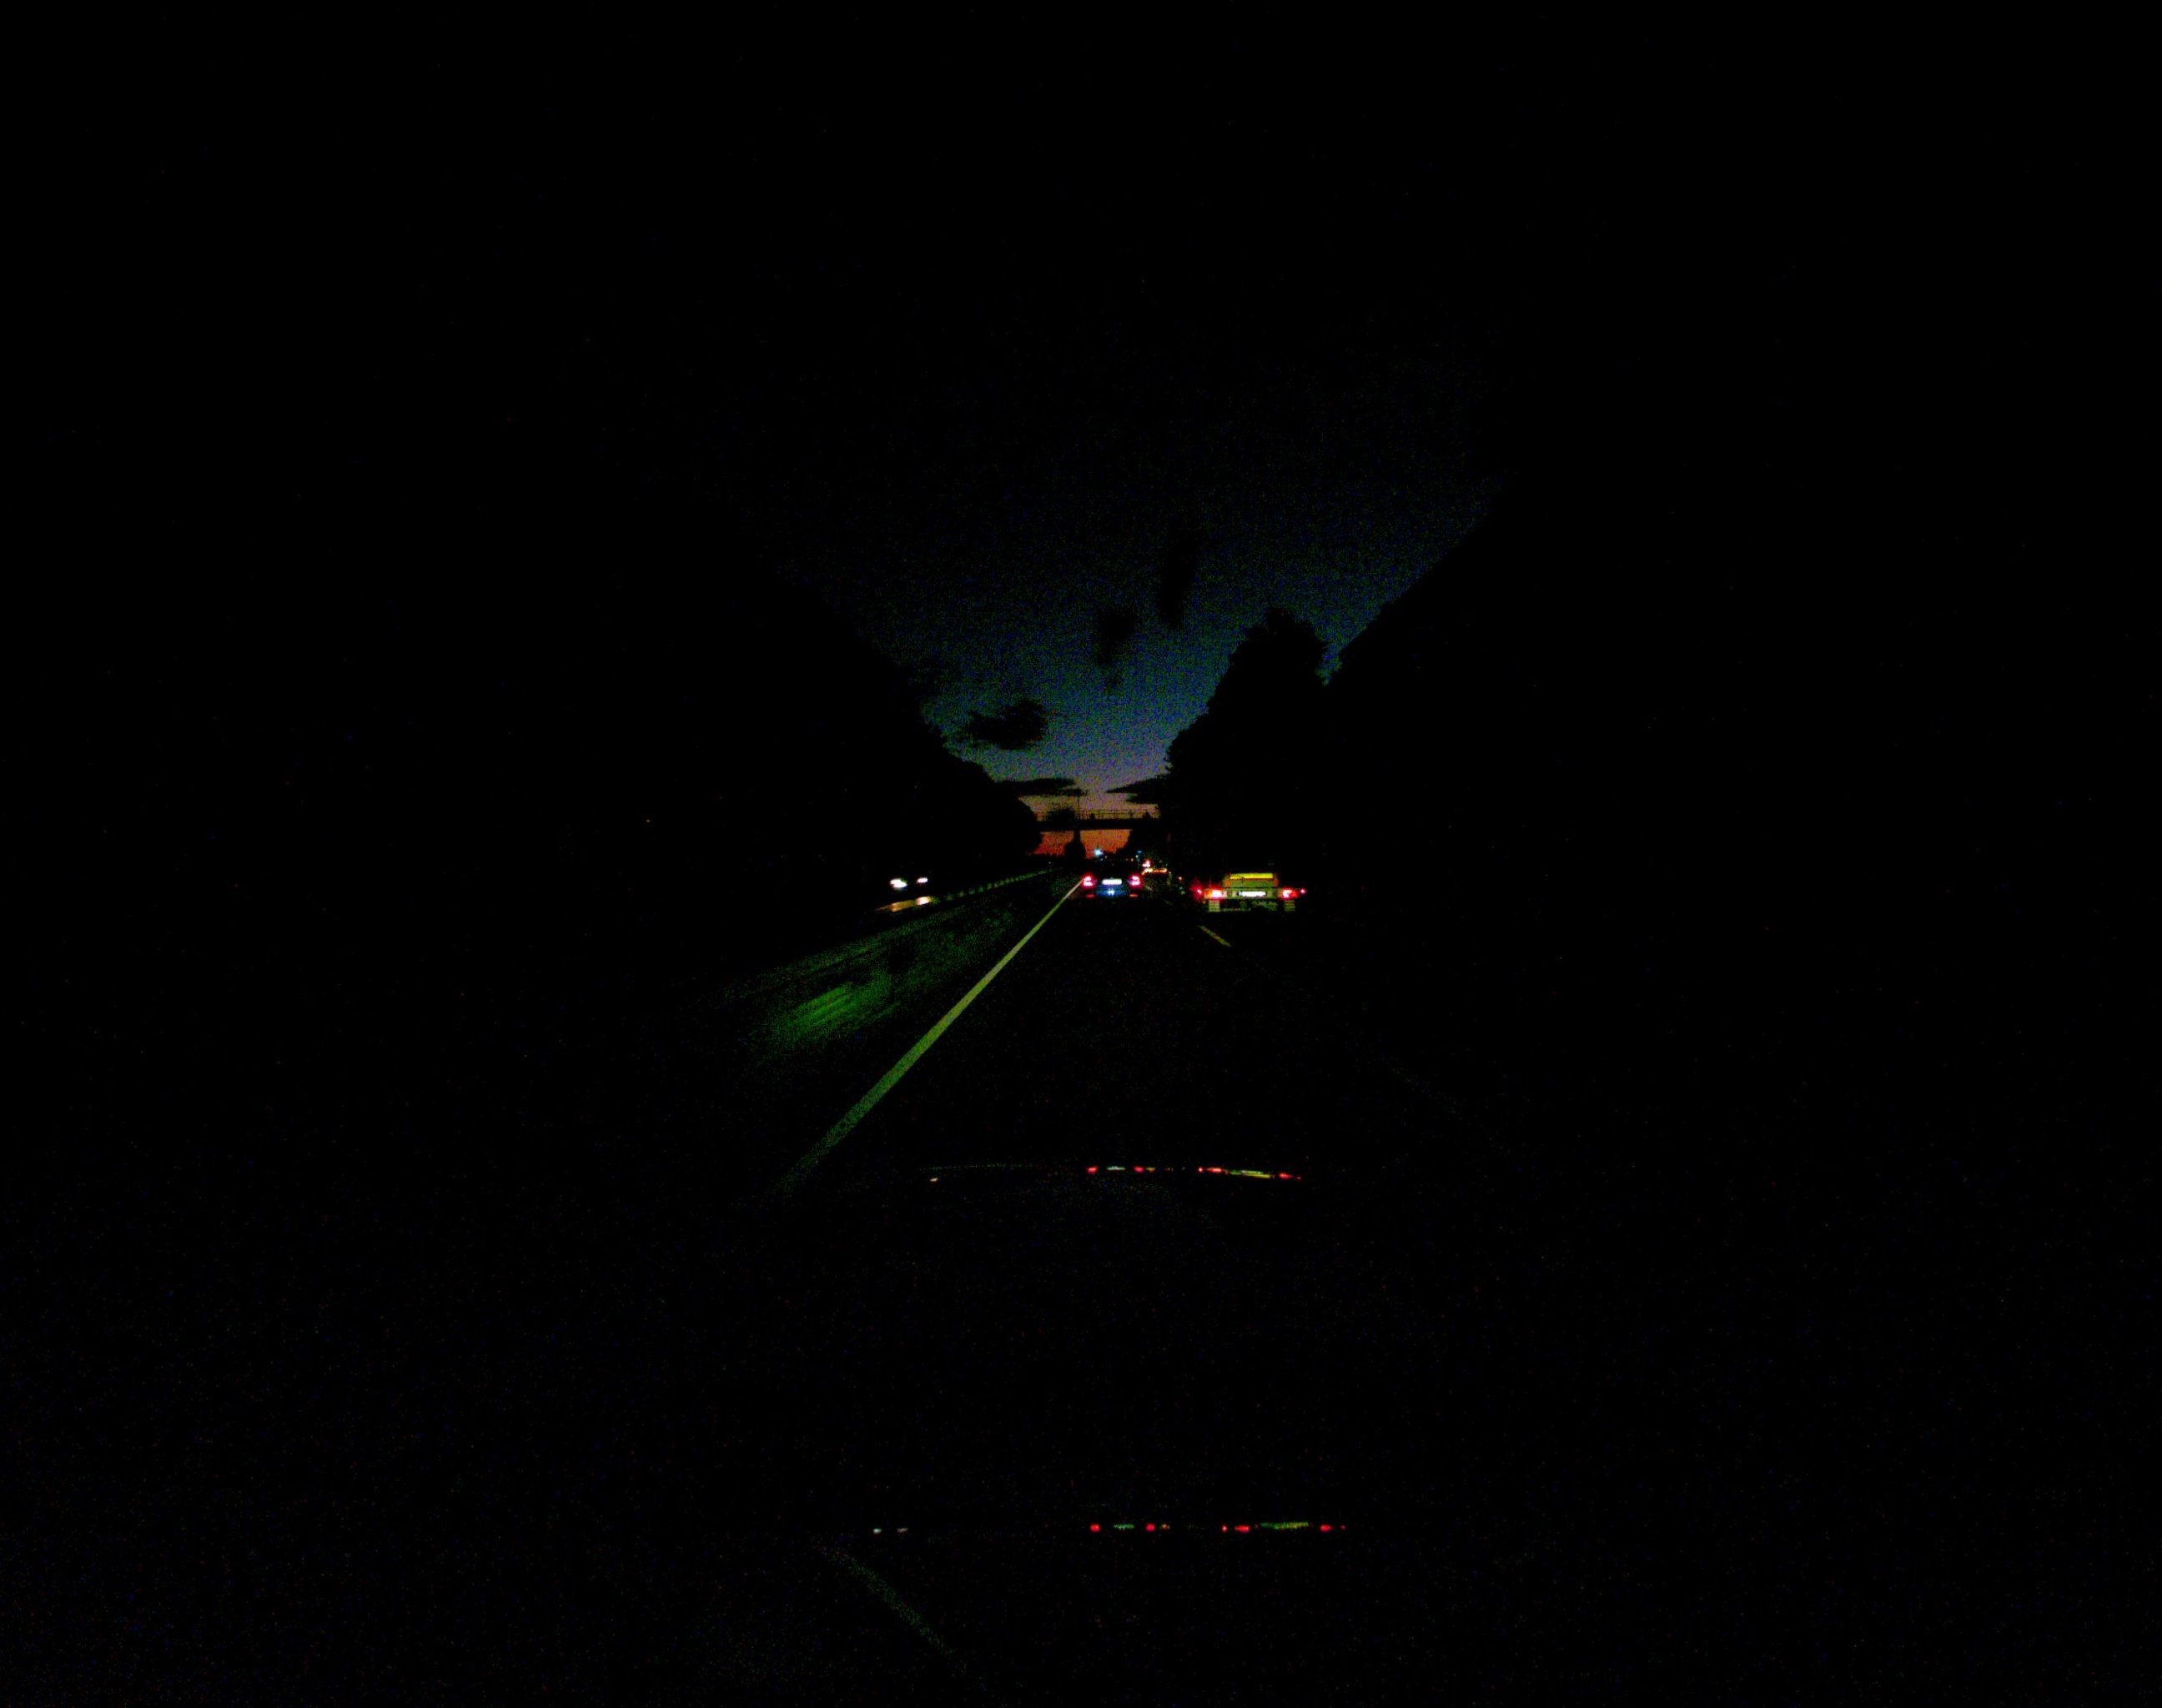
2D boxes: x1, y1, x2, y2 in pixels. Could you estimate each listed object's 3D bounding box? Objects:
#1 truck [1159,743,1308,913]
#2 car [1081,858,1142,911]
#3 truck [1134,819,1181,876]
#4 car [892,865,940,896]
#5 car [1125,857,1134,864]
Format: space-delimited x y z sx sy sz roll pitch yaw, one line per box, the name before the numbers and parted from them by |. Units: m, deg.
truck | 4.334 -0.568 26.377 2.677 4.106 13.145 0 -1 2
car | 0.896 0.858 24.485 1.689 1.452 3.915 0 -1 1
truck | 5.913 -0.427 65.122 2.872 4.106 12.687 0 -1 2
car | -8.464 1.335 42.080 1.611 1.507 3.870 0 -1 2
car | 10.563 1.425 177.411 1.689 1.452 3.915 0 -1 1
